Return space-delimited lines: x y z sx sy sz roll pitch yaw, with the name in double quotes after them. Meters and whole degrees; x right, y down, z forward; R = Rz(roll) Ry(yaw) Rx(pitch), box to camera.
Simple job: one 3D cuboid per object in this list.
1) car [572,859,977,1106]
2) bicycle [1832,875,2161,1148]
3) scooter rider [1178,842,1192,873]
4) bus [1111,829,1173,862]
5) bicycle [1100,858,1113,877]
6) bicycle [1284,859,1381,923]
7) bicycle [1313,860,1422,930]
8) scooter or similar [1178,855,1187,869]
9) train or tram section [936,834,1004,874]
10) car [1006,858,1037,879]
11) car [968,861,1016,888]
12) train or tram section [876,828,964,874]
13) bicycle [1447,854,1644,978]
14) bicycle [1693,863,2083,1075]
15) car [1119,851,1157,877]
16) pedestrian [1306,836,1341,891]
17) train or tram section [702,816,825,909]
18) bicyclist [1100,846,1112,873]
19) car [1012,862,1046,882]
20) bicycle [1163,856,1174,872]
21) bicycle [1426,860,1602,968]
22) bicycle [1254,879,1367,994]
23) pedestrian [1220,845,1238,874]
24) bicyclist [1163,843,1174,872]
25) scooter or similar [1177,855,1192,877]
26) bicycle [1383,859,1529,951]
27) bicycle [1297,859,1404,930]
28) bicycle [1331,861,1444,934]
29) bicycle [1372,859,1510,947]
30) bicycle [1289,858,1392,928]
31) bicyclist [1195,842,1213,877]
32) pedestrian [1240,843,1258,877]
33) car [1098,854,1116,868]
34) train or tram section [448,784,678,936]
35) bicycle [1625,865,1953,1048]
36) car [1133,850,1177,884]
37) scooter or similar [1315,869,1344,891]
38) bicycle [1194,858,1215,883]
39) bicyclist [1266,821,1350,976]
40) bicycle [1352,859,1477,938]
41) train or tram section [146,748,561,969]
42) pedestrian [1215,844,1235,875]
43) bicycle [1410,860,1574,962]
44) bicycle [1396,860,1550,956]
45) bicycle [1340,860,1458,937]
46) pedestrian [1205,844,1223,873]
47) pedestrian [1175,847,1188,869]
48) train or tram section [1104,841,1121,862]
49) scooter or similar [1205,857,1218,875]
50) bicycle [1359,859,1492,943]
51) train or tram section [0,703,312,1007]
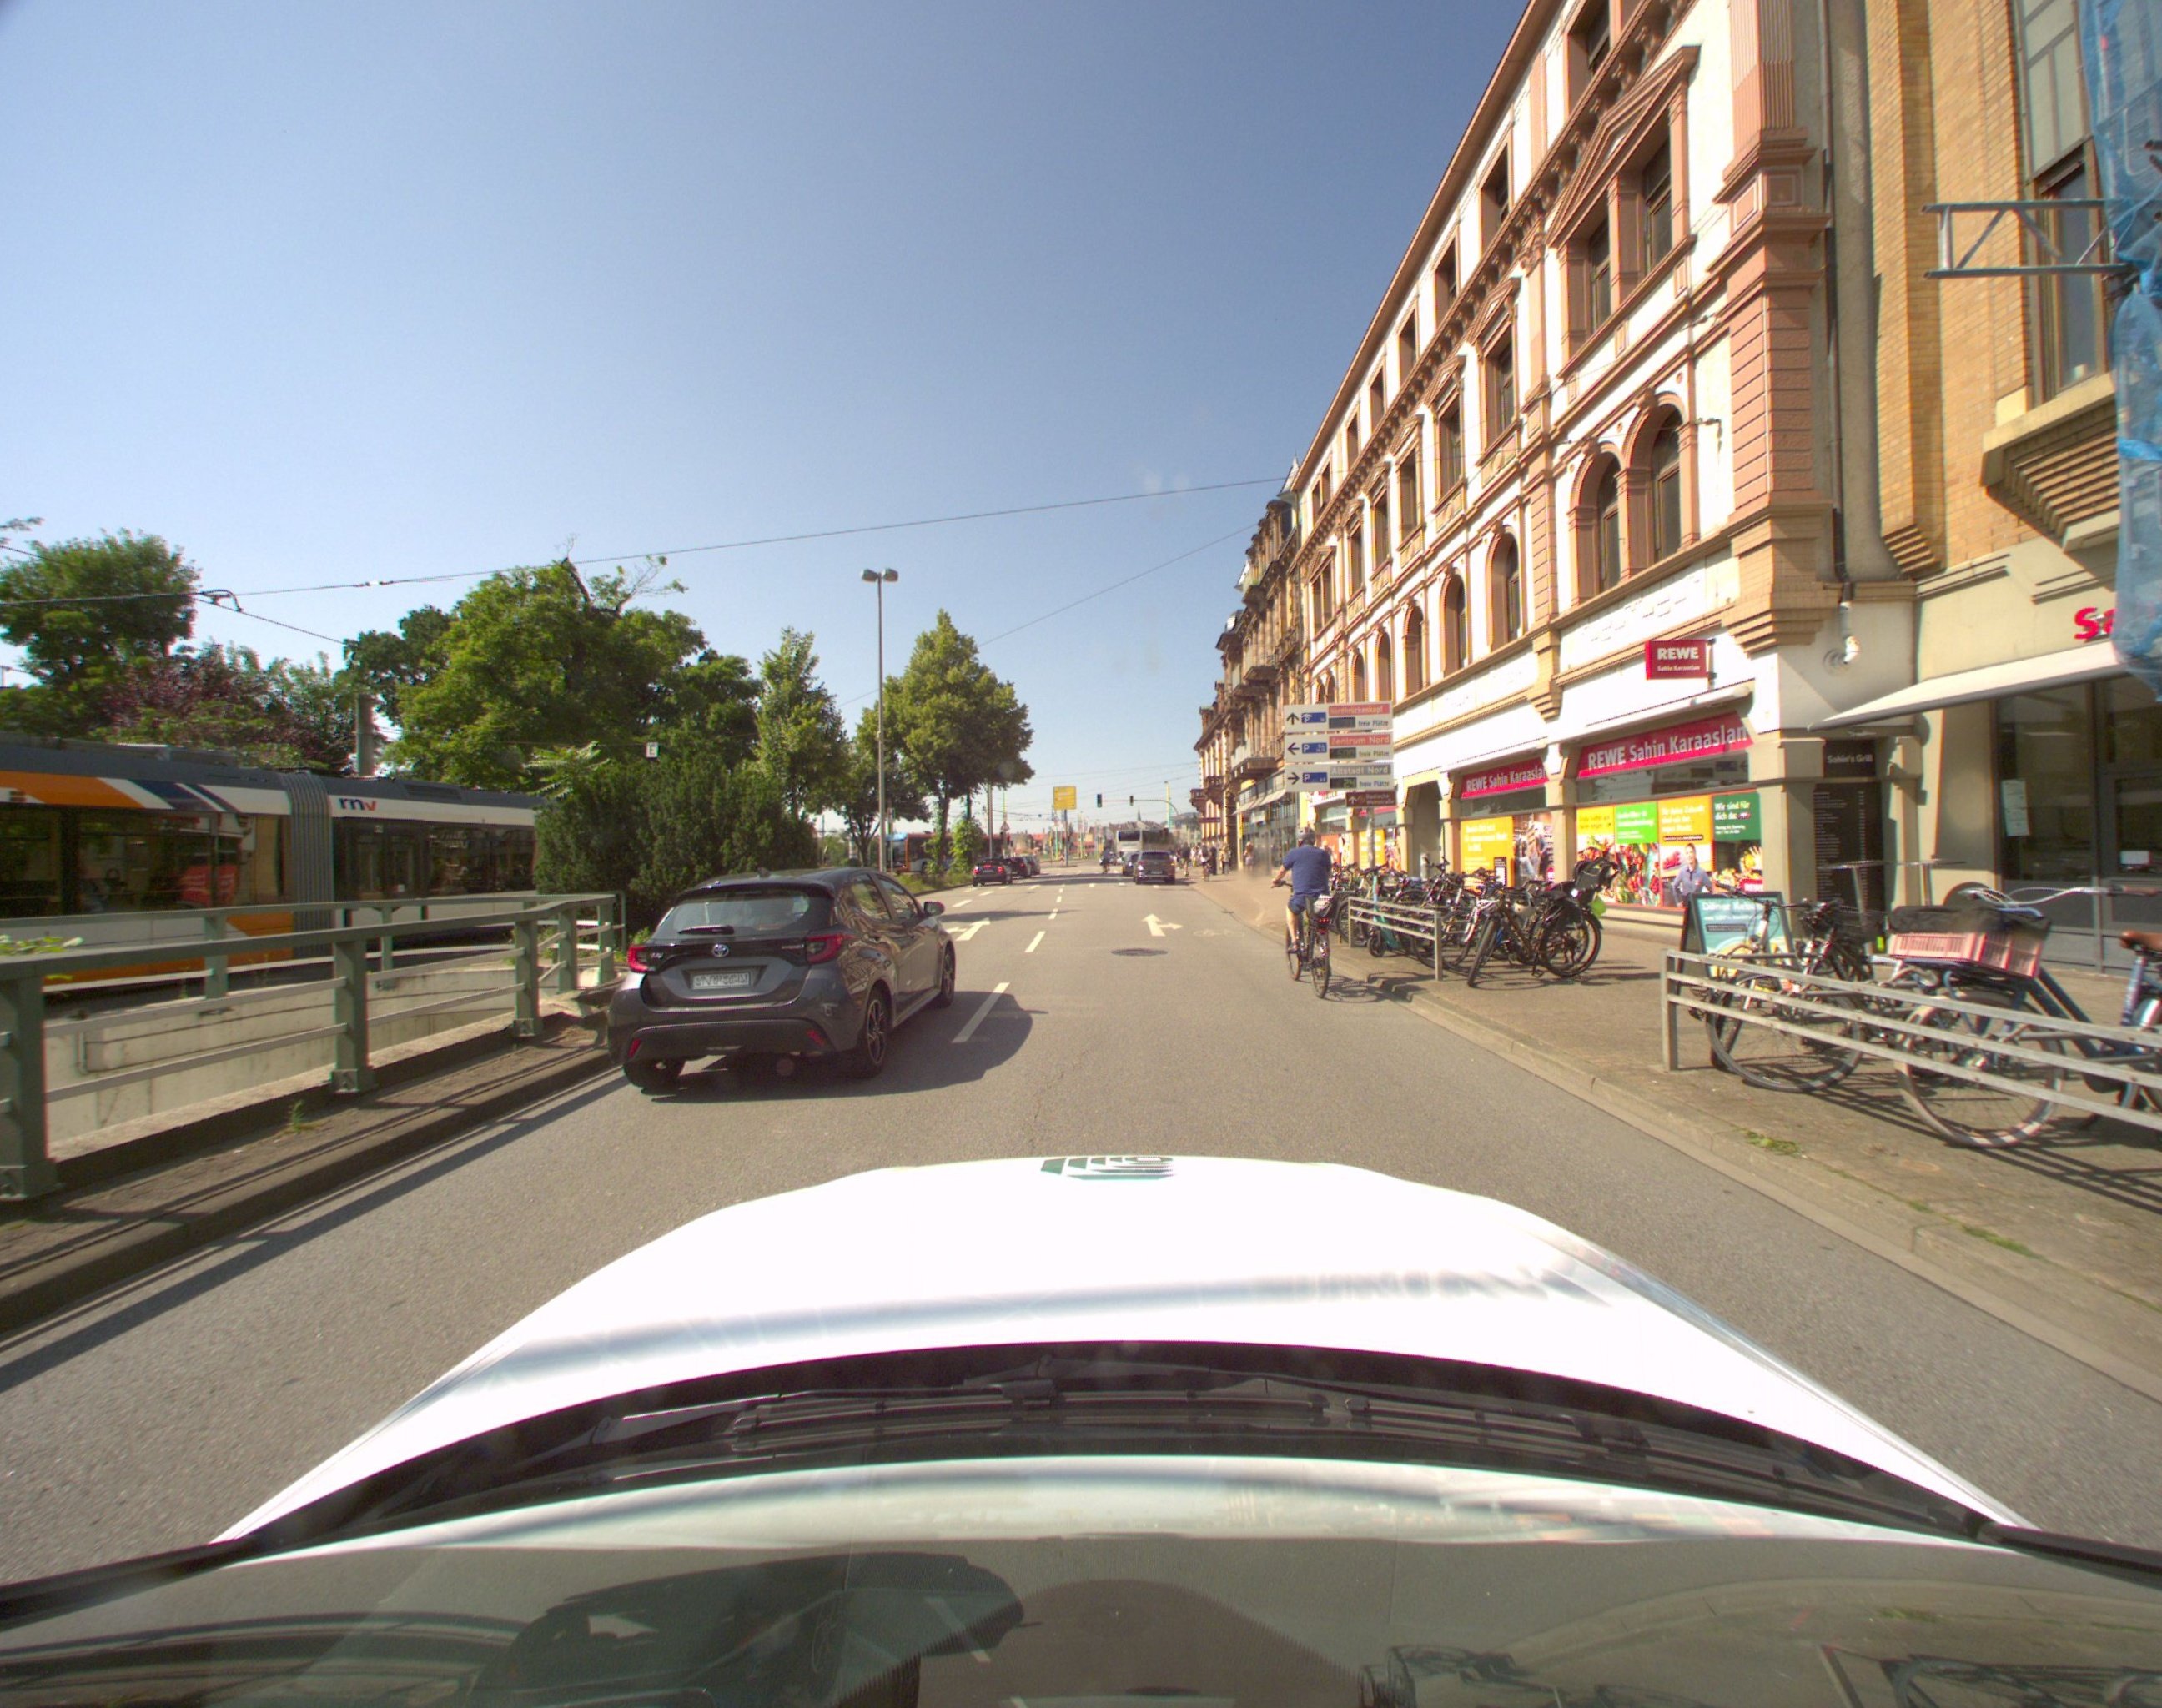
-2.184 0.831 7.084 1.770 1.475 4.003 -2 -1 3 "car"
4.747 0.695 3.866 1.764 1.179 0.609 0 -1 2 "bicycle"
5.728 0.200 44.974 0.685 1.729 0.779 1 -1 4 "scooter rider"
5.818 -0.711 75.869 2.942 2.777 8.689 0 -1 24 "bus"
1.511 0.826 49.152 0.731 1.093 1.898 1 -1 1 "bicycle"
4.865 0.705 15.825 1.686 1.178 0.609 -2 0 2 "bicycle"
4.883 0.699 13.940 1.687 1.179 0.470 0 -1 2 "bicycle"
7.640 0.576 61.344 0.598 1.047 0.799 1 -1 0 "scooter or similar"
-10.552 0.048 78.690 2.798 3.581 8.267 -3 -2 20 "train or tram section"
-3.752 0.900 51.776 1.445 1.301 4.003 1 -1 3 "car"
-4.578 1.060 42.459 1.808 1.332 4.003 1 -1 3 "car"
-13.610 -0.170 69.967 2.800 3.581 10.077 -3 -2 18 "train or tram section"
4.785 0.624 8.460 1.686 1.241 0.609 0 -1 2 "bicycle"
4.754 0.648 4.878 1.686 1.179 0.609 0 -1 2 "bicycle"
3.417 0.635 49.369 1.988 1.493 3.998 1 -1 -1 "car"
7.752 0.304 26.036 0.753 1.656 0.837 -5 -2 1 "pedestrian"
-13.271 0.350 34.619 2.603 3.581 6.019 1 -1 2 "train or tram section"
1.518 0.347 49.064 0.686 1.577 1.049 1 -1 0 "bicyclist"
-3.733 1.279 59.114 2.029 1.332 4.003 1 -1 3 "car"
5.971 0.699 55.530 0.730 1.093 1.900 1 -1 5 "bicycle"
4.825 0.660 9.129 1.686 1.179 0.498 0 -1 2 "bicycle"
2.476 0.848 9.018 0.731 1.093 1.911 1 -1 1 "bicycle"
8.487 0.292 46.669 0.859 1.640 0.875 1 -1 0 "pedestrian"
5.985 0.260 55.544 0.685 1.962 0.779 1 -1 4 "bicyclist"
5.703 0.666 44.894 0.685 1.167 1.465 1 -1 4 "scooter or similar"
4.906 0.665 10.704 1.686 1.179 0.463 0 -1 2 "bicycle"
4.786 0.715 14.539 1.686 1.178 0.609 -2 0 2 "bicycle"
5.035 0.711 13.428 1.687 1.179 0.470 0 -1 2 "bicycle"
4.934 0.666 11.205 1.686 1.179 0.457 0 -1 2 "bicycle"
4.822 0.718 15.193 1.687 1.178 0.609 -3 0 2 "bicycle"
5.675 0.267 37.469 0.686 1.577 1.050 1 -1 1 "bicyclist"
8.226 0.304 39.822 0.652 1.621 0.815 -2 0 0 "pedestrian"
2.832 0.799 89.138 1.851 1.507 4.003 1 -1 3 "car"
-13.647 0.180 22.066 2.604 3.581 5.358 1 -1 2 "train or tram section"
4.784 0.664 5.582 1.686 1.179 0.609 0 -1 2 "bicycle"
3.378 0.601 37.639 1.866 1.493 4.003 1 -1 3 "car"
7.752 0.806 25.406 0.688 0.650 0.565 -5 -1 1 "scooter or similar"
5.666 0.758 37.516 0.731 1.093 1.898 1 -1 2 "bicycle"
2.484 0.467 9.001 0.686 1.616 0.918 1 -1 1 "bicyclist"
5.021 0.662 12.296 1.686 1.179 0.459 0 -1 2 "bicycle"
-13.818 0.102 16.343 2.603 3.581 6.105 1 -1 2 "train or tram section"
7.791 0.290 44.156 0.859 1.640 0.875 -2 -1 0 "pedestrian"
4.845 0.664 9.664 1.686 1.179 0.491 0 -1 2 "bicycle"
4.875 0.663 10.181 1.686 1.179 0.452 0 -1 2 "bicycle"
5.007 0.695 12.879 1.686 1.179 0.460 0 -1 2 "bicycle"
7.454 0.253 45.688 0.859 1.640 0.875 1 -1 0 "pedestrian"
7.621 0.287 62.002 0.859 1.640 0.875 1 -1 0 "pedestrian"
6.060 -0.430 155.391 2.810 3.777 8.235 1 0 4 "train or tram section"
7.425 0.684 46.308 0.598 1.047 0.799 1 -1 0 "scooter or similar"
4.950 0.672 11.756 1.686 1.179 0.514 0 -1 2 "bicycle"
-14.009 0.010 10.267 2.604 3.581 6.105 1 -1 2 "train or tram section"
